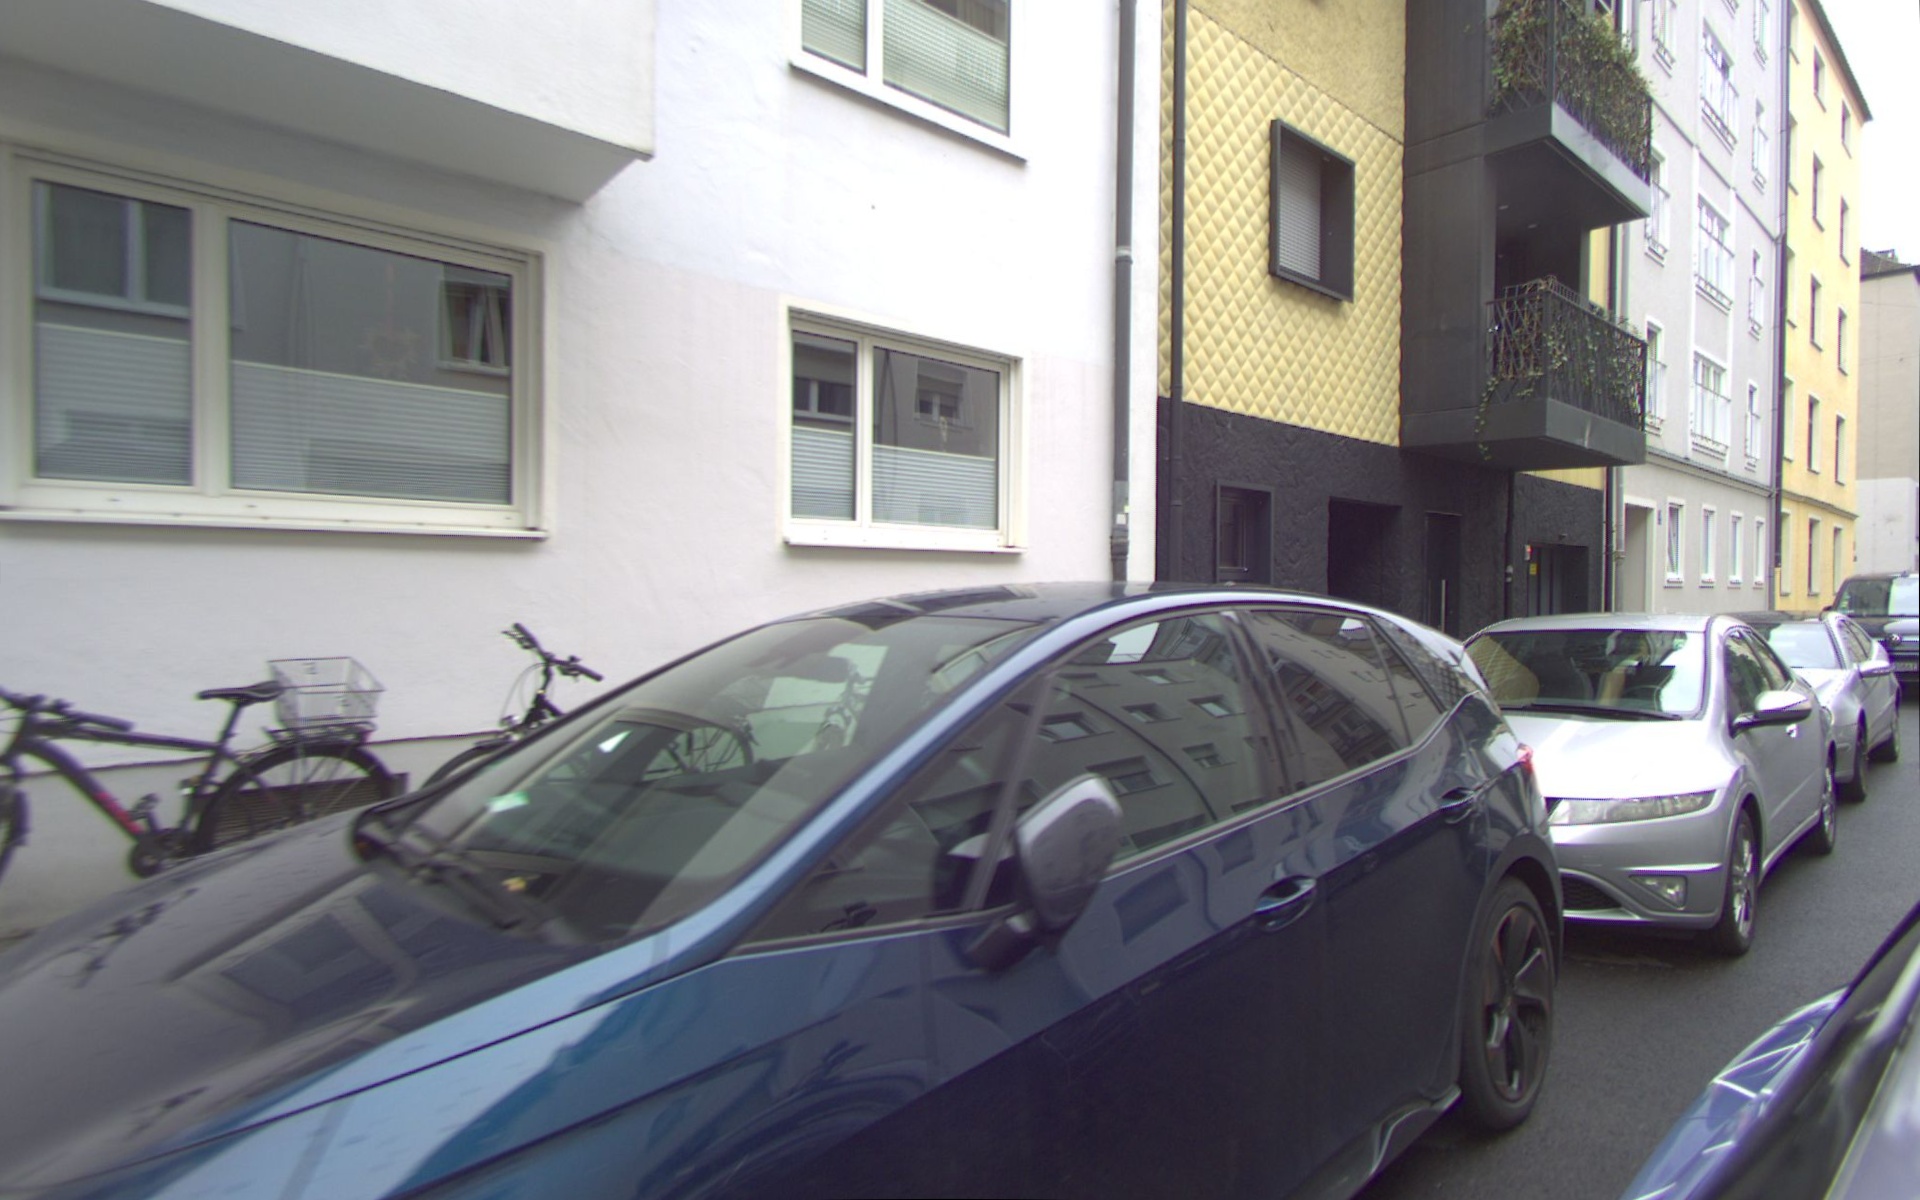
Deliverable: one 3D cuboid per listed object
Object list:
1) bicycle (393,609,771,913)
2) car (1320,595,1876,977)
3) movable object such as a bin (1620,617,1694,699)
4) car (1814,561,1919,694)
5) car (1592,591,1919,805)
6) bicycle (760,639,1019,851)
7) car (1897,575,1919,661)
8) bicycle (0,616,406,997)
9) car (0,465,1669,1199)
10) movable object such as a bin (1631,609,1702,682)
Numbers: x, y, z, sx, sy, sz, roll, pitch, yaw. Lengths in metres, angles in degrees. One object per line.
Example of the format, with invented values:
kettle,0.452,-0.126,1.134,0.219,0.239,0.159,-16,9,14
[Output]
bicycle,-1.696,0.635,4.689,1.536,1.165,0.571,0,0,-42
car,4.012,0.739,6.033,4.190,1.449,1.761,-1,-1,-43
movable object such as a bin,10.484,0.859,15.227,0.564,1.153,0.796,0,1,-42
car,15.323,0.359,16.049,5.094,1.862,1.985,-1,0,-42
car,7.345,0.672,9.148,4.131,1.447,1.737,-1,2,-43
bicycle,-0.364,0.765,5.834,1.525,1.015,0.477,0,0,-42
car,21.040,0.350,20.946,4.463,1.695,1.965,-1,2,-42
bicycle,-2.869,0.658,3.680,1.406,1.165,0.571,0,0,-42
car,0.141,0.645,2.743,4.545,1.573,1.909,-1,2,-42
movable object such as a bin,10.899,0.681,15.616,0.537,1.067,0.796,0,1,-42
